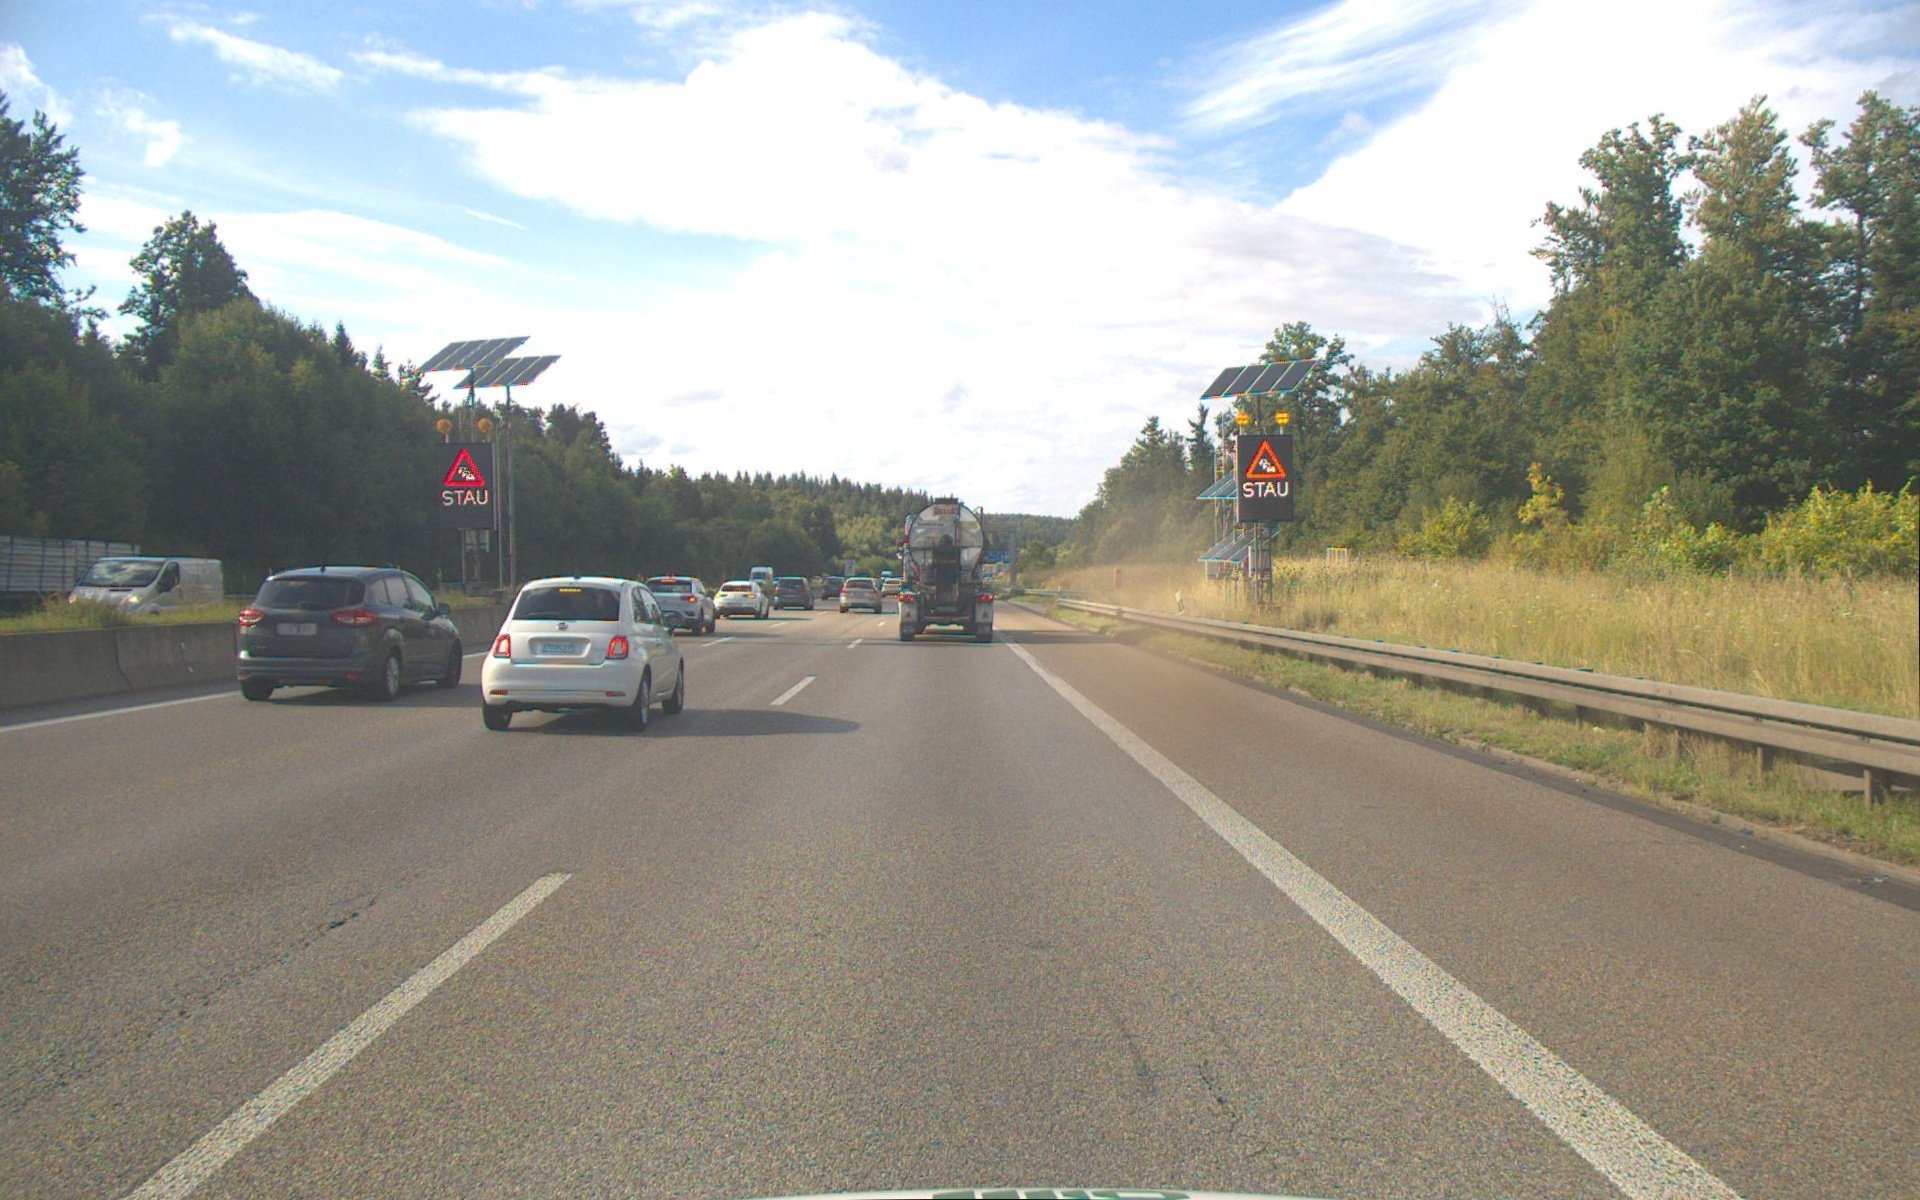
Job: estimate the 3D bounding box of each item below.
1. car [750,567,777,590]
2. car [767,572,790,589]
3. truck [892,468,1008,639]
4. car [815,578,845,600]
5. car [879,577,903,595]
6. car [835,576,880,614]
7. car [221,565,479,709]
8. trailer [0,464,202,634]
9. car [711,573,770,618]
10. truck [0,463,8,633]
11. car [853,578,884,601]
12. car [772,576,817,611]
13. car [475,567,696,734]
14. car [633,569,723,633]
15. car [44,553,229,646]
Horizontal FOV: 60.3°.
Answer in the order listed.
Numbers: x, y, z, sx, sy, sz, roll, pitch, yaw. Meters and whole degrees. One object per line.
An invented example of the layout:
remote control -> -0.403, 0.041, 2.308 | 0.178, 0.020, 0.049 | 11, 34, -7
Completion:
car -> -20.447, -2.229, 172.023 | 2.066, 2.353, 6.723 | 0, 1, -1
car -> -24.272, -2.612, 221.545 | 2.526, 2.176, 5.965 | 0, 1, -1
truck -> -0.267, -1.220, 46.764 | 2.853, 4.230, 11.269 | 0, 1, 0
car -> -9.518, -0.843, 121.303 | 1.903, 1.482, 4.206 | 1, 1, -1
car -> -5.908, -1.192, 141.196 | 1.903, 1.482, 4.206 | 1, 1, -1
car -> -4.824, -0.260, 78.508 | 1.903, 1.683, 4.206 | 1, 1, -1
car -> -7.620, 0.378, 21.108 | 1.770, 1.613, 4.206 | 1, 1, -1
trailer -> -23.614, -1.235, 42.249 | 3.060, 3.904, 12.207 | 0, 1, -1
car -> -8.467, -0.195, 64.148 | 1.770, 1.613, 4.206 | 1, 1, -1
truck -> -23.511, -1.157, 34.682 | 3.051, 3.904, 7.122 | 0, 1, -1
car -> -6.190, -0.732, 111.957 | 1.903, 1.482, 4.206 | 1, 1, -1
car -> -8.326, -0.357, 83.382 | 1.903, 1.613, 4.206 | 1, 1, -1
car -> -3.866, 0.467, 17.596 | 1.585, 1.571, 3.519 | 1, 0, -1
car -> -7.617, -0.019, 45.062 | 1.770, 1.613, 4.206 | 1, 1, -1
car -> -19.253, -0.039, 38.939 | 1.953, 2.049, 4.859 | 0, 1, 0
